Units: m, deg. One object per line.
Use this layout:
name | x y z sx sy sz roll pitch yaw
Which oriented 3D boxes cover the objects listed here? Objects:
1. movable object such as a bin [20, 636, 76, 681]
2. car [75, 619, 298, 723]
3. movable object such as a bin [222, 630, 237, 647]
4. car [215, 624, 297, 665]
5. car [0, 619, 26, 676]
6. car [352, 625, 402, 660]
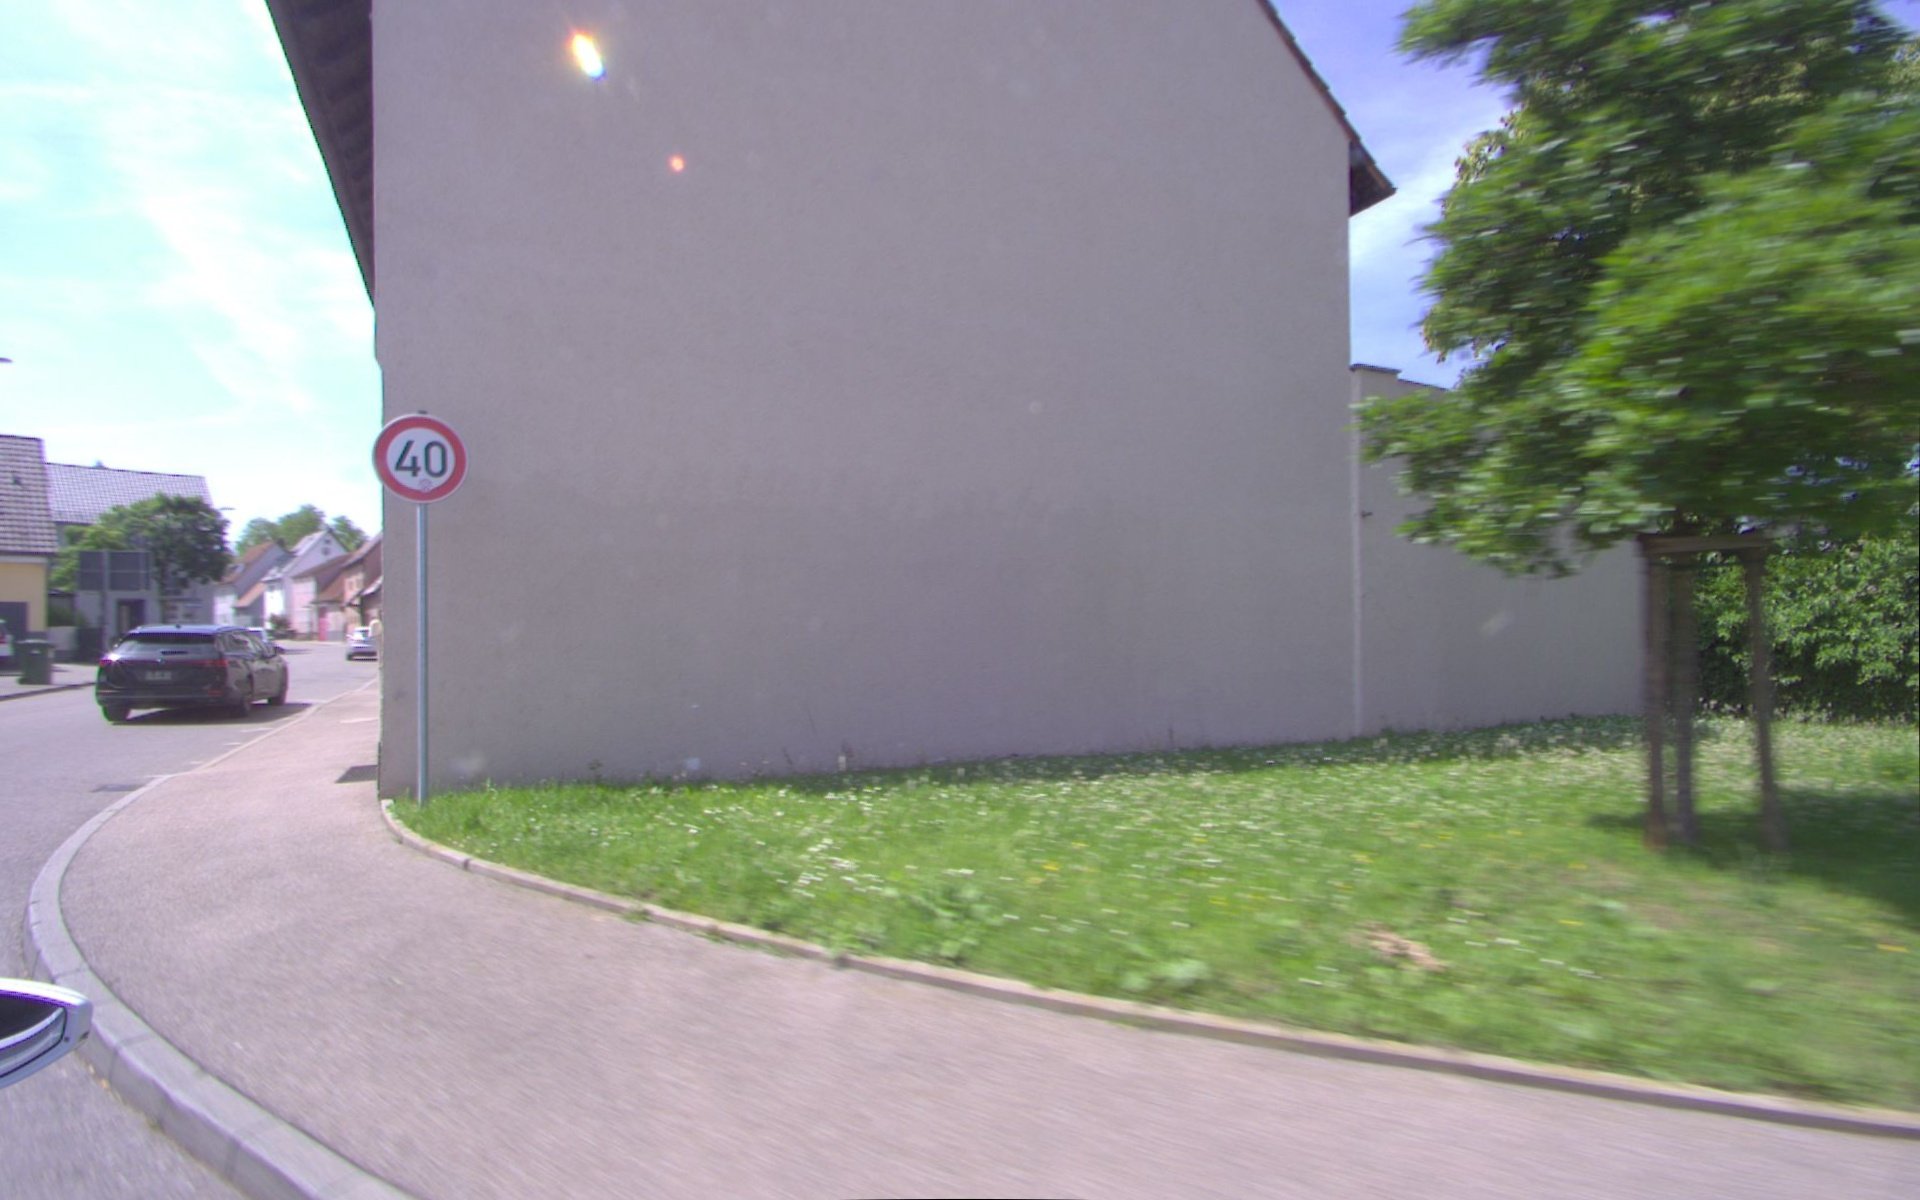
movable object such as a bin | -22.802 1.458 25.045 0.816 1.091 0.815 2 -1 -27
car | -12.417 1.084 16.439 1.818 1.438 4.667 2 -2 -24
movable object such as a bin | -46.627 2.443 63.913 0.748 1.074 0.674 2 -1 -40
car | -27.741 1.729 39.599 1.931 1.505 4.442 -1 -1 -26
car | -29.548 1.356 28.359 4.368 1.643 1.984 2 -3 -40
car | -26.191 1.889 44.954 1.767 1.460 4.312 2 -2 -32
